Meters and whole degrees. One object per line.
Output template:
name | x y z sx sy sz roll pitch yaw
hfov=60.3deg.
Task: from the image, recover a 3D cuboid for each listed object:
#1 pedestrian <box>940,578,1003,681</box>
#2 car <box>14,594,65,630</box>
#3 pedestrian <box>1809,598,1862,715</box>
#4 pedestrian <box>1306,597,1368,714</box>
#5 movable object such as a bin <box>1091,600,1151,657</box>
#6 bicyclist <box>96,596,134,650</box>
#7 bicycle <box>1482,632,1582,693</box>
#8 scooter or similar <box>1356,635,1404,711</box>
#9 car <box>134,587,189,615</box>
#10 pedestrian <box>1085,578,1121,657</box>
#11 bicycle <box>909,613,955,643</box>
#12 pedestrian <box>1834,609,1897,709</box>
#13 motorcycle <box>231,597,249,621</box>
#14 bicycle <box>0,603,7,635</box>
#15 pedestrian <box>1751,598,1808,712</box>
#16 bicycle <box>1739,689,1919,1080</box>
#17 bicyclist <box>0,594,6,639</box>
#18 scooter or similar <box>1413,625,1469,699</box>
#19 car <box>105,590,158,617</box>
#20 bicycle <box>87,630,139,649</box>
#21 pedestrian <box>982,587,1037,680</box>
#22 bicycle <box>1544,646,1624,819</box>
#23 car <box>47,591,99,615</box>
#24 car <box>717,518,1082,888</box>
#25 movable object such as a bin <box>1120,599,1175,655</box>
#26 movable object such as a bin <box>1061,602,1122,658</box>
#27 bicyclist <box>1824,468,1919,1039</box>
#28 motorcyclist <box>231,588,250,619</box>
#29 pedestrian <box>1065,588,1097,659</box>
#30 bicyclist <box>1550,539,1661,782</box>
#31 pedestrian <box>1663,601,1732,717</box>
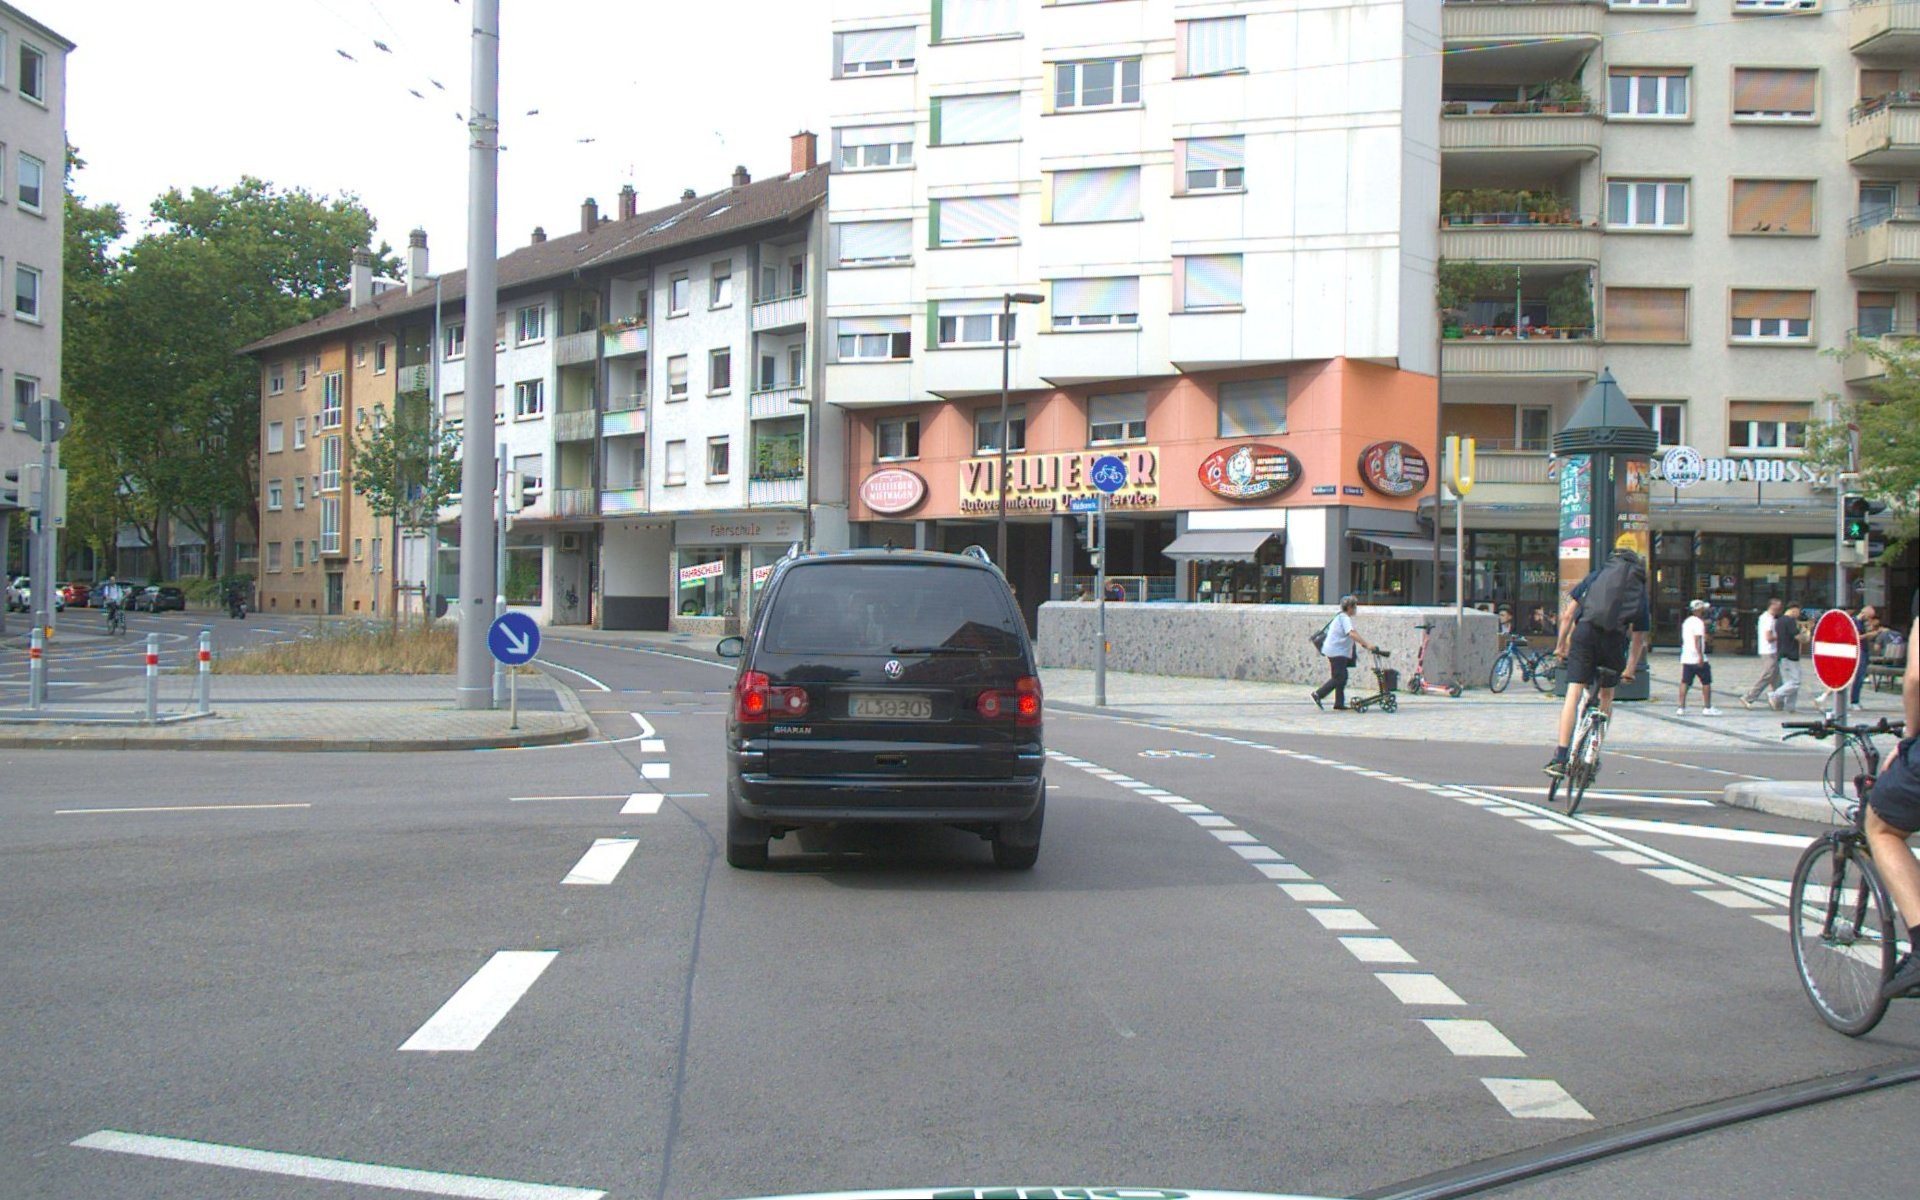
pedestrian | 0.228 0.564 32.746 0.995 2.005 0.717 0 1 41
car | -44.128 0.571 79.280 1.815 1.689 4.274 1 -1 -33
pedestrian | 13.400 0.861 25.322 0.581 1.767 0.415 1 -1 1
pedestrian | 5.797 0.835 25.432 0.915 1.770 0.686 0 0 15
movable object such as a bin | 4.459 0.777 45.839 1.177 1.542 1.189 0 -1 45
bicyclist | -26.779 0.738 52.407 0.595 1.675 1.038 1 -1 4
bicycle | 10.177 1.096 29.384 2.426 1.031 0.537 1 -1 -41
scooter or similar | 6.414 1.110 25.279 0.685 1.130 0.609 0 0 13
car | -44.412 0.035 91.920 1.650 1.447 3.804 2 0 -44
pedestrian | 3.525 0.425 40.824 0.669 1.936 0.580 -2 1 -43
bicycle | -0.901 0.876 52.440 0.450 0.912 1.651 1 0 -44
pedestrian | 14.705 0.950 26.864 0.801 1.604 0.415 1 -1 2
motorcycle | -30.825 0.375 70.804 0.336 1.025 1.246 2 -1 -42
bicycle | -37.826 0.746 64.806 0.509 1.247 1.538 2 -1 -43
pedestrian | 12.835 0.853 25.921 0.685 1.767 0.415 1 -1 1
bicycle | 3.215 0.923 5.519 0.397 1.141 2.018 1 0 4
bicyclist | -37.822 0.644 64.868 0.535 1.774 0.745 2 -2 -44
scooter or similar | 8.190 1.041 28.186 0.281 1.234 1.118 1 -1 -22
car | -47.765 0.191 95.298 1.650 1.447 3.883 2 0 -44
bicycle | -26.872 1.249 52.512 0.473 0.598 1.999 1 -1 4
pedestrian | 0.987 0.658 33.169 0.870 1.831 0.673 0 1 41
bicycle | 4.672 0.950 12.452 0.382 1.141 1.921 1 0 16
car | -54.791 0.180 102.107 1.668 1.418 4.387 3 -2 -44
car | -0.552 0.510 10.028 1.779 1.797 3.730 1 0 -9
movable object such as a bin | 5.292 0.762 46.683 0.998 1.542 1.148 2 -1 -45
movable object such as a bin | 3.577 0.816 44.978 1.204 1.486 1.140 0 -1 45
bicyclist | 3.223 0.470 5.255 0.546 1.739 0.863 1 -1 5
motorcyclist | -30.793 0.155 70.776 0.520 1.335 0.667 2 -1 -42
pedestrian | 2.933 0.567 40.090 0.470 1.702 0.580 -2 1 -43
bicyclist | 4.820 0.439 12.391 0.682 1.739 0.908 1 -1 17
pedestrian | 11.145 0.883 25.010 0.787 1.710 0.627 1 -1 2
